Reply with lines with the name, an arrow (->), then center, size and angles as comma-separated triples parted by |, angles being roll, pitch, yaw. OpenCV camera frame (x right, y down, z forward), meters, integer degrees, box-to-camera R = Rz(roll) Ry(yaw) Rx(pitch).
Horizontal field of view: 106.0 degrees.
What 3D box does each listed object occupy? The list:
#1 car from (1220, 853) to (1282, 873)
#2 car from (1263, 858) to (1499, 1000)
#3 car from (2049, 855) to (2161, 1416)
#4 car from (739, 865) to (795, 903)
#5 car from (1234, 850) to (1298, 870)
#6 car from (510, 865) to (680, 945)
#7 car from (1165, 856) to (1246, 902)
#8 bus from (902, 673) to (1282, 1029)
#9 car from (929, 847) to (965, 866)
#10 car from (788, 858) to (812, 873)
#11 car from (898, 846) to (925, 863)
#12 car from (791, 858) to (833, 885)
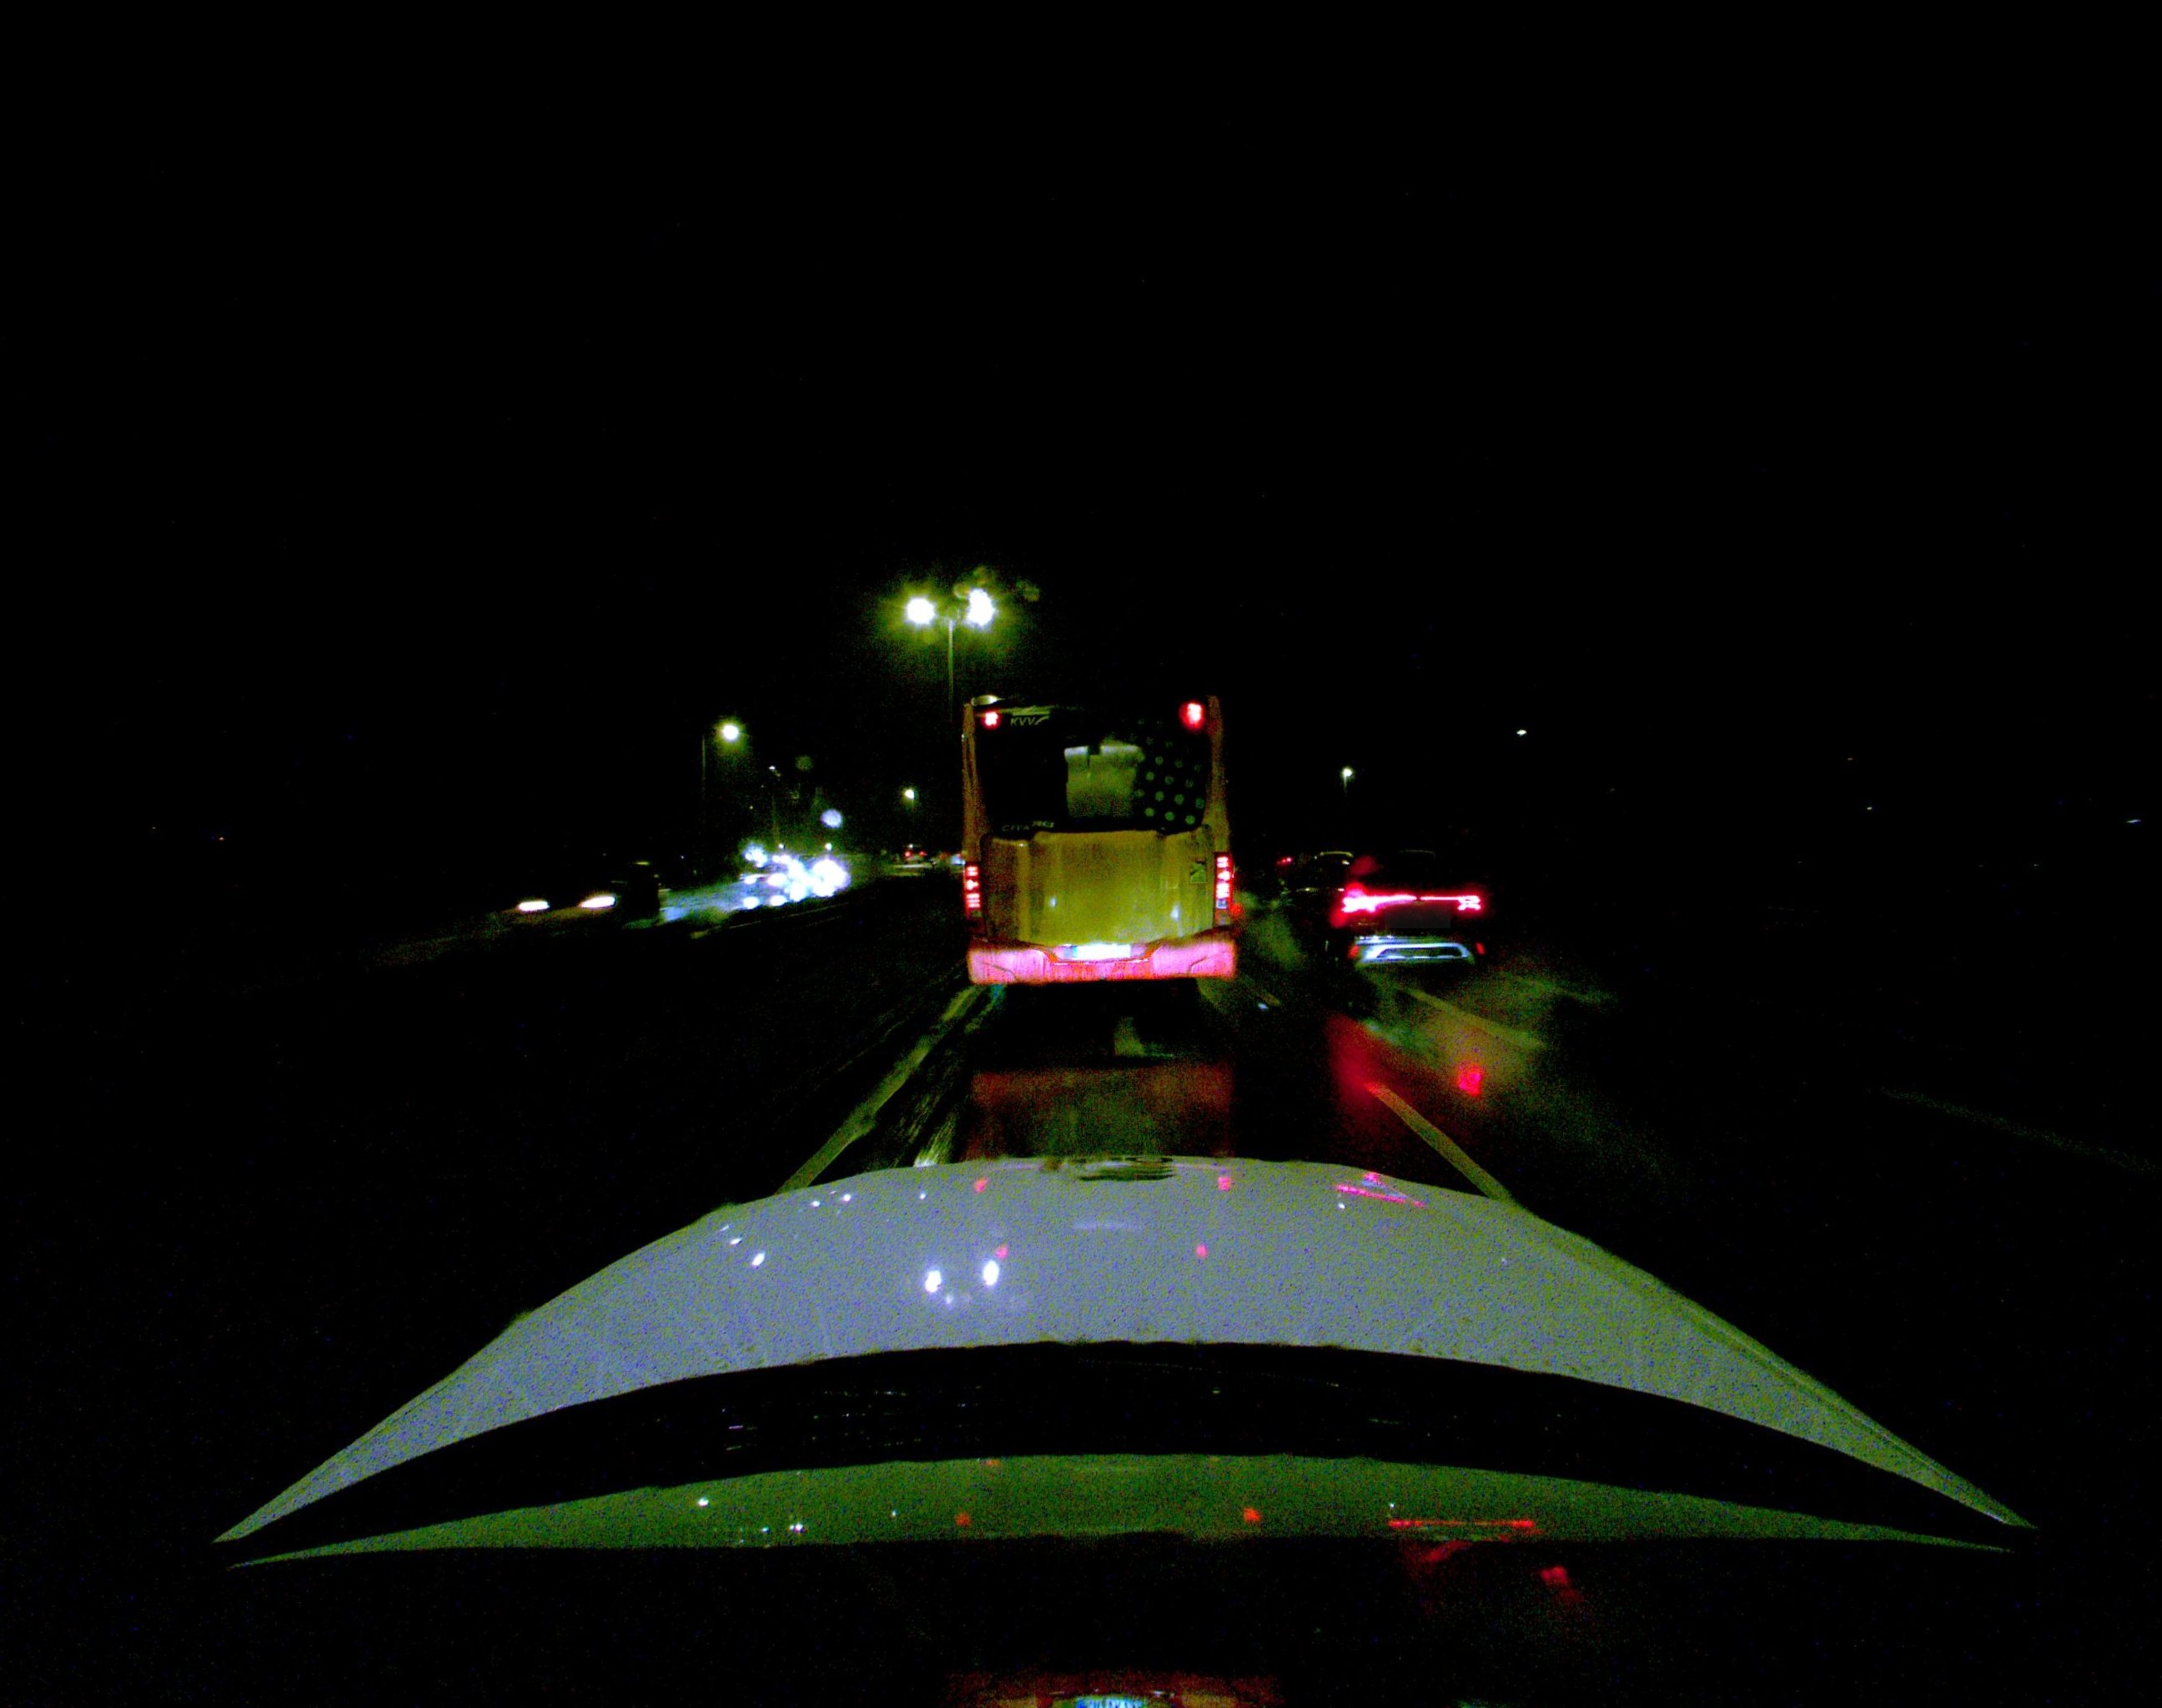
car -> 12.062, 0.608, 57.956 | 4.036, 1.345, 1.744 | 0, 1, -5
car -> 3.677, 0.836, 10.761 | 1.671, 1.521, 3.960 | 0, -1, 0
car -> 3.650, 0.737, 0.154 | 1.666, 1.506, 4.562 | 1, -1, 3
car -> -14.689, 1.378, 38.299 | 1.849, 1.571, 3.494 | -1, 1, -11
car -> 14.078, 0.447, 62.180 | 4.476, 1.519, 1.854 | 0, 1, -5
car -> -11.470, 1.127, 19.592 | 1.762, 1.631, 4.243 | -1, 0, -4
car -> 3.830, 0.747, 25.597 | 1.683, 1.330, 3.954 | 0, -1, -4
bus -> -0.026, -0.106, 11.945 | 3.276, 3.050, 9.537 | -2, 1, -2
car -> -11.992, 0.231, 72.847 | 2.102, 1.643, 3.694 | 0, -1, -29
car -> -27.884, 1.154, 80.820 | 1.750, 1.502, 3.965 | -1, -1, -26
car -> -18.032, 0.056, 86.565 | 2.002, 1.721, 3.968 | 0, -1, -24
car -> -16.915, 1.080, 51.445 | 1.774, 1.593, 4.546 | -2, -1, -9
